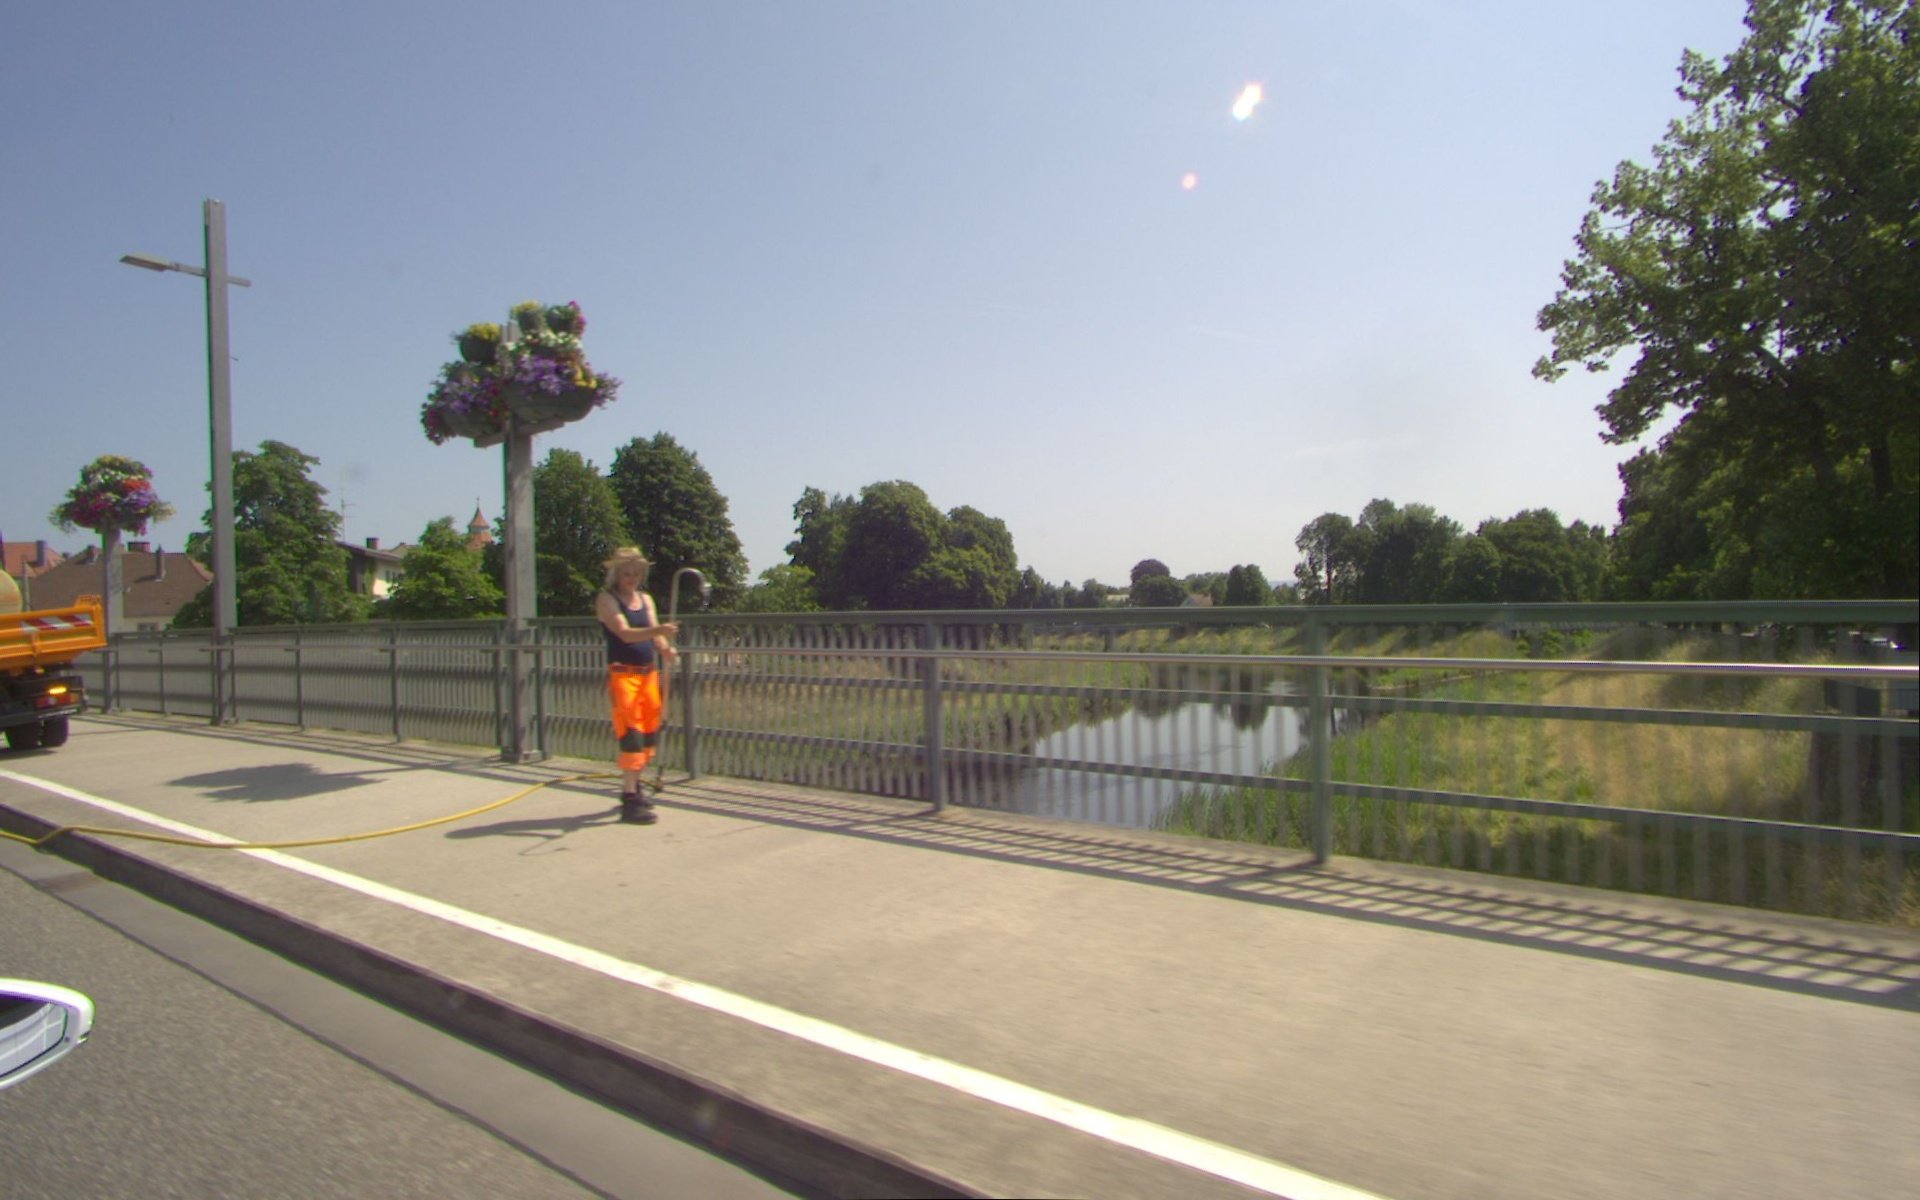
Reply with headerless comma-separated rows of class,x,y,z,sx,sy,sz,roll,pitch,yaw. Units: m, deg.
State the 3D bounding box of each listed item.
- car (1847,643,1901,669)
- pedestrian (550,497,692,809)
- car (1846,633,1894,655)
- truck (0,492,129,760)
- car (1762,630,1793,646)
car,56.447,3.449,61.906,1.565,1.571,3.736,-1,-3,28
pedestrian,-2.267,0.355,6.724,0.661,1.985,0.547,-2,-1,19
car,66.668,3.216,73.435,1.802,1.571,3.983,-1,-3,31
truck,-12.324,0.379,11.645,5.748,2.728,2.595,-2,3,36
car,81.503,3.808,99.836,1.802,1.571,3.983,-1,-3,31
